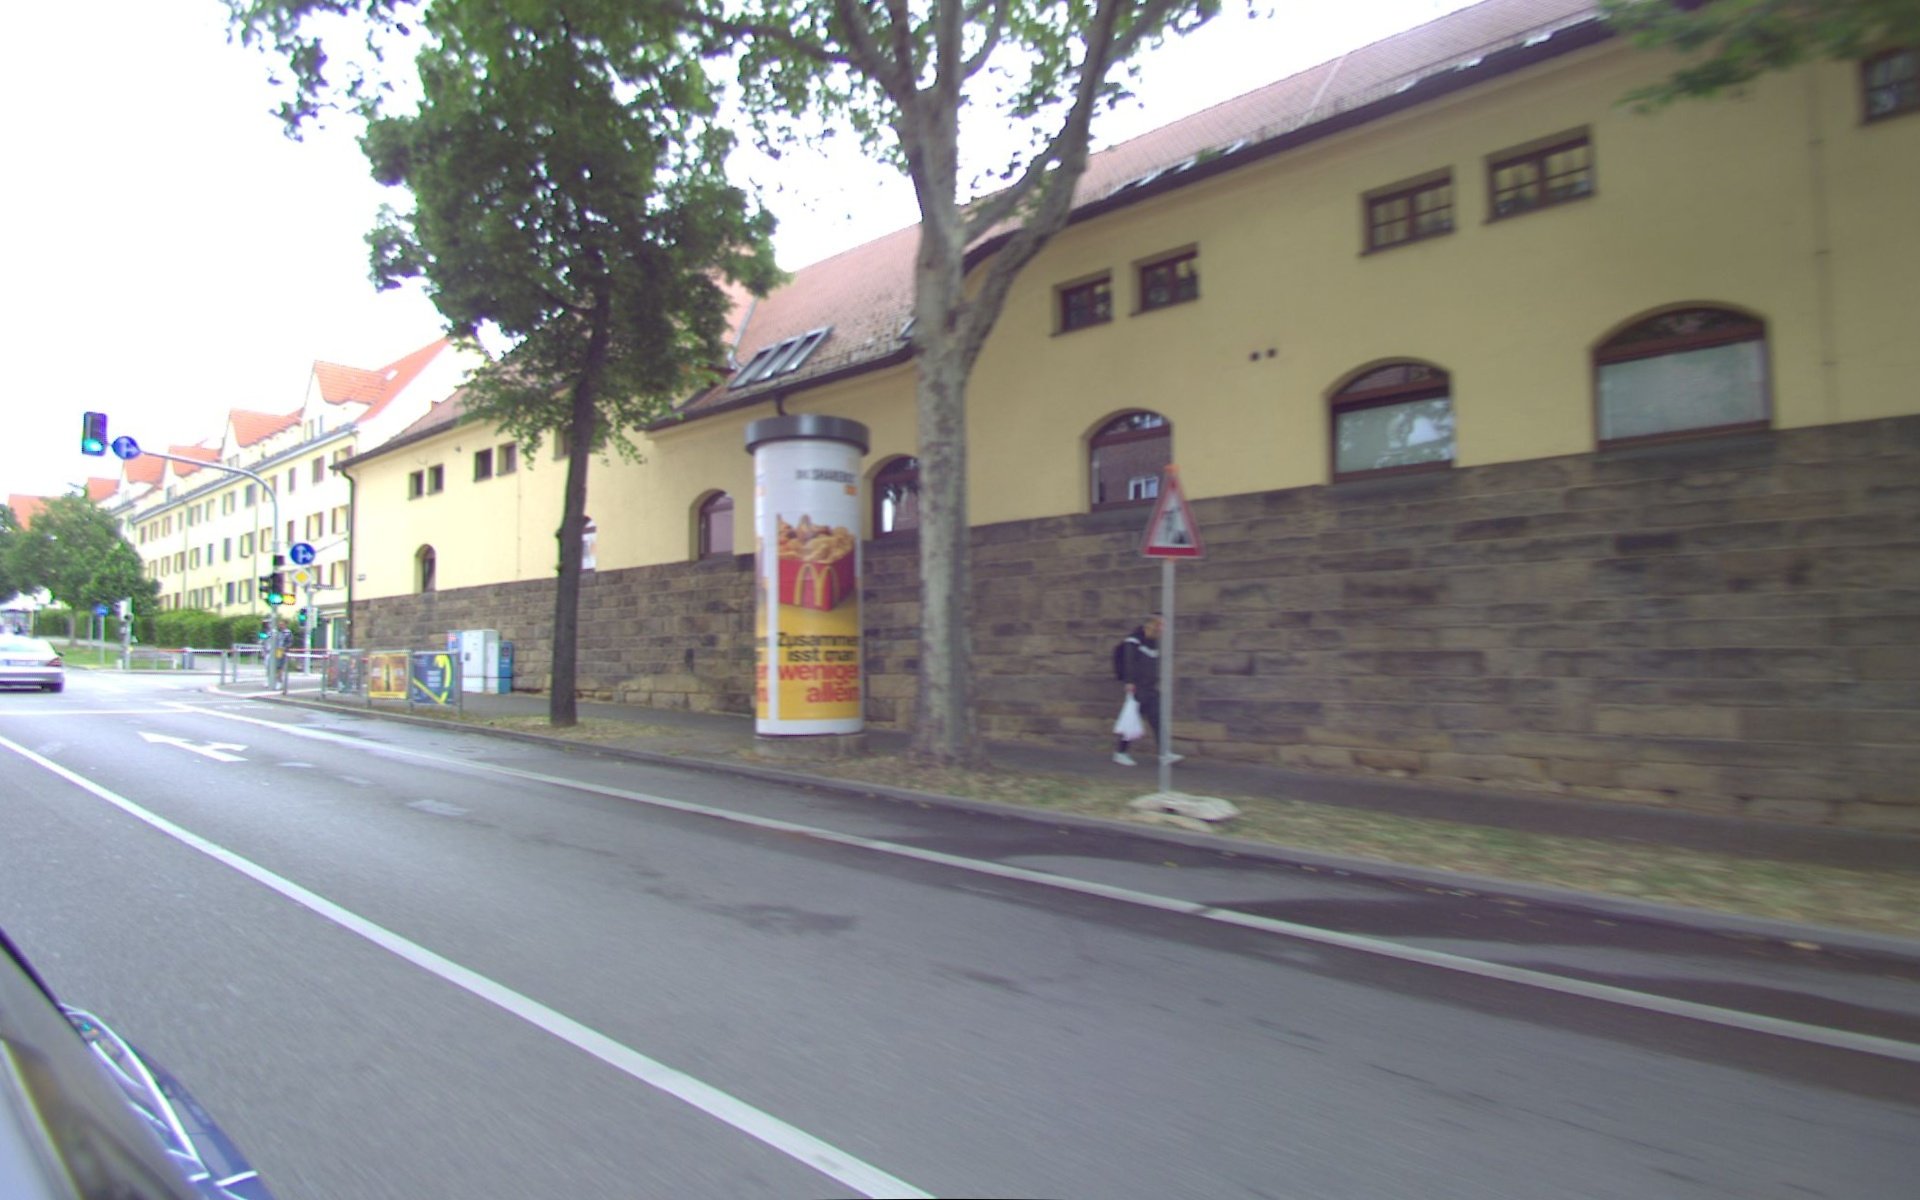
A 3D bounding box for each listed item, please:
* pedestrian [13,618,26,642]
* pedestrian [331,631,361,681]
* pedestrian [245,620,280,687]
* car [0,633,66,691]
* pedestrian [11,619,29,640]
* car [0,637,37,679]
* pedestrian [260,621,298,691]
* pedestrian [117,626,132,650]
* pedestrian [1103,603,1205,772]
[{"bbox_3d":[-68.387,2.187,73.607,0.861,1.740,0.591,-1,-3,43],"label":"pedestrian"},{"bbox_3d":[-19.788,1.796,32.592,0.842,1.578,0.558,-2,-3,41],"label":"pedestrian"},{"bbox_3d":[-18.753,1.430,27.216,0.716,1.790,0.558,-2,-3,40],"label":"pedestrian"},{"bbox_3d":[-23.566,1.480,25.024,4.094,1.285,1.667,-1,-5,42],"label":"car"},{"bbox_3d":[-70.060,2.183,75.400,0.806,1.521,0.890,-2,-2,41],"label":"pedestrian"},{"bbox_3d":[-33.958,2.034,35.824,1.683,1.425,4.194,4,-4,-45],"label":"car"},{"bbox_3d":[-17.784,1.443,26.416,0.841,1.790,0.558,-1,-3,40],"label":"pedestrian"},{"bbox_3d":[-56.108,2.556,67.987,0.617,1.631,0.634,-1,-3,39],"label":"pedestrian"},{"bbox_3d":[2.198,0.959,11.466,0.874,1.808,0.769,-2,-3,40],"label":"pedestrian"}]
